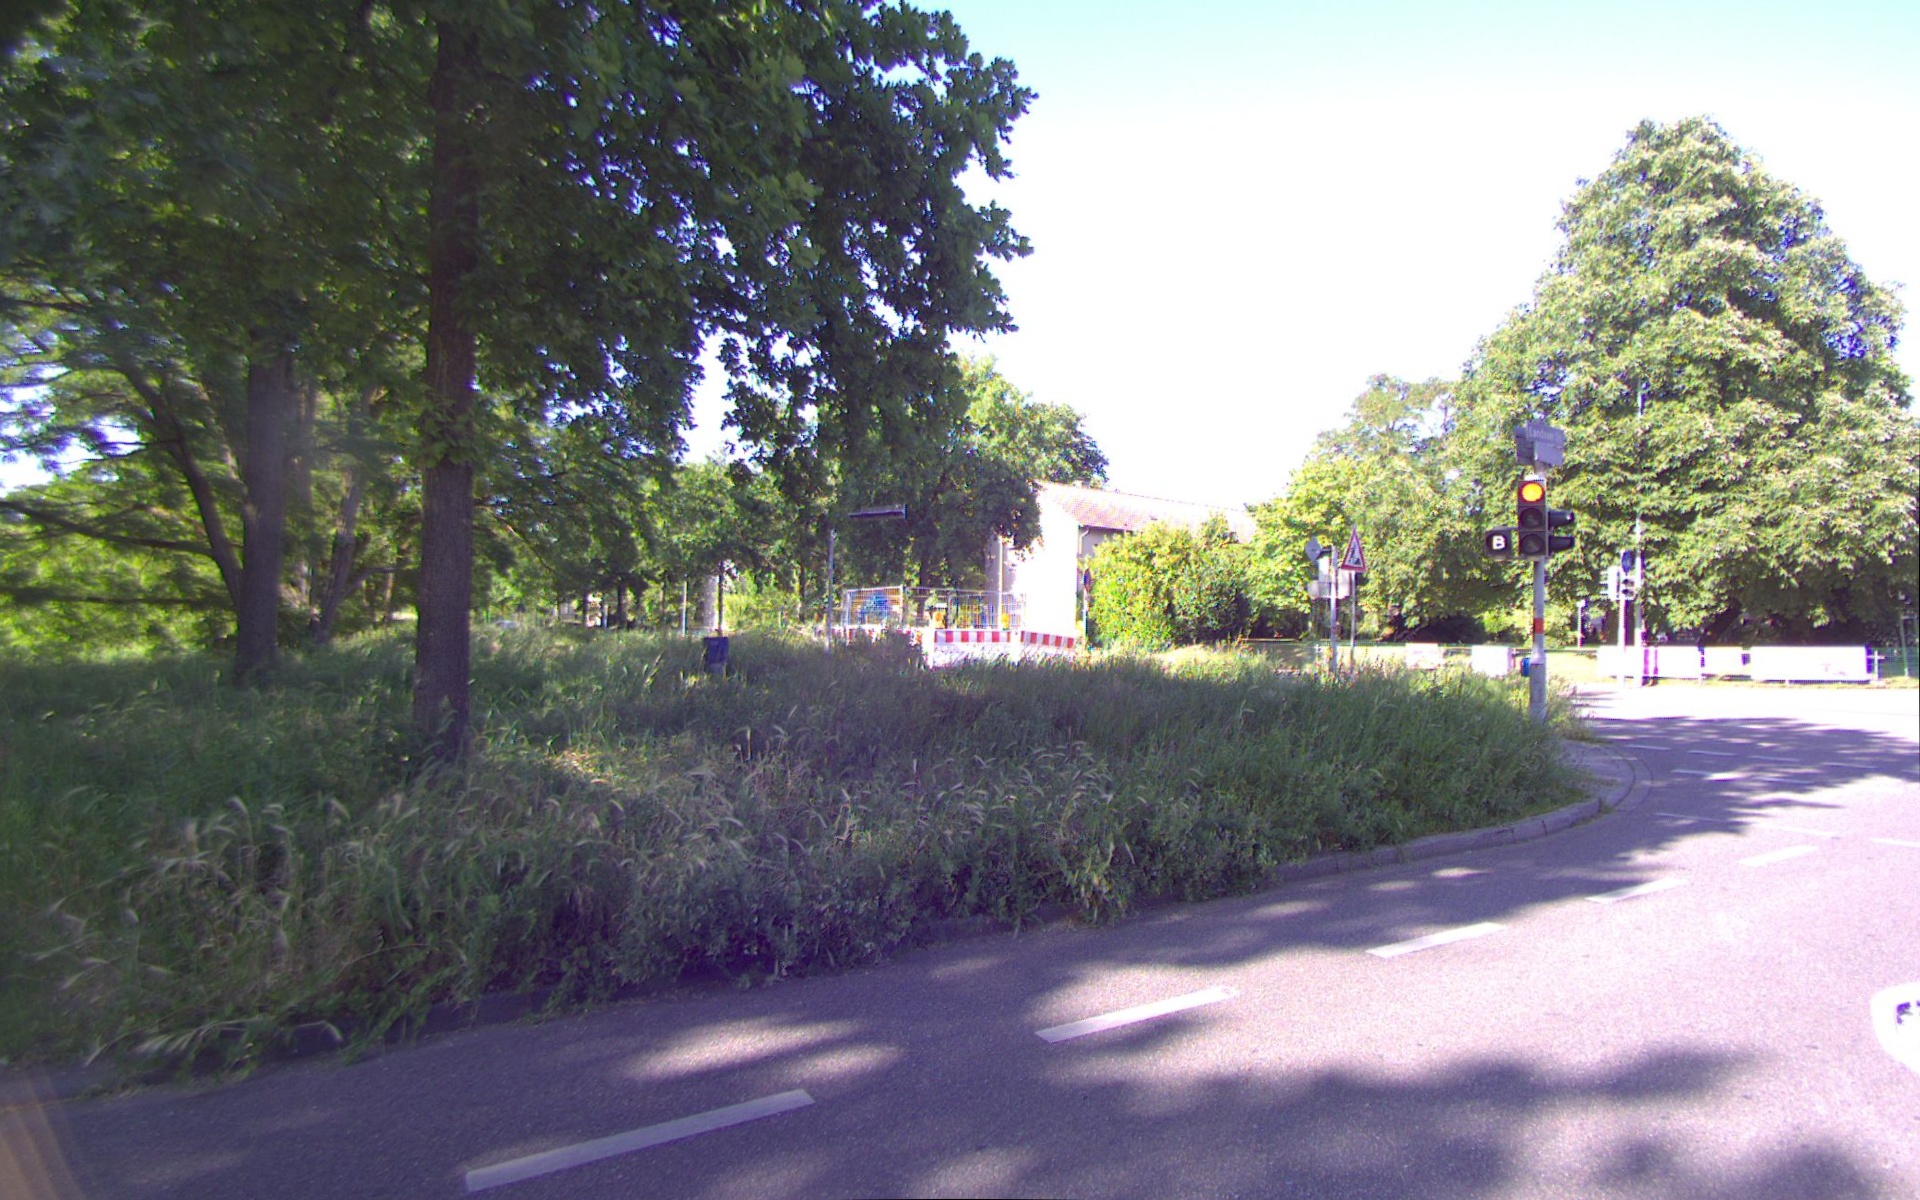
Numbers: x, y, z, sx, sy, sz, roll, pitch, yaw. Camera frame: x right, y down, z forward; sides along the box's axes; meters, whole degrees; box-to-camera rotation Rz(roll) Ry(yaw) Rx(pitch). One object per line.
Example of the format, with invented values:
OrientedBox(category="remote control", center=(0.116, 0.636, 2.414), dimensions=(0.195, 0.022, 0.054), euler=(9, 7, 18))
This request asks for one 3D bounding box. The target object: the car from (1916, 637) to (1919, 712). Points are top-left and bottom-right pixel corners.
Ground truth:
OrientedBox(category="car", center=(20.677, 1.396, 18.171), dimensions=(1.983, 1.449, 4.691), euler=(2, -3, -39))

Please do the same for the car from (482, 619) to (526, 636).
OrientedBox(category="car", center=(-47.406, 2.861, 104.482), dimensions=(3.939, 1.673, 1.991), euler=(2, 0, -20))
